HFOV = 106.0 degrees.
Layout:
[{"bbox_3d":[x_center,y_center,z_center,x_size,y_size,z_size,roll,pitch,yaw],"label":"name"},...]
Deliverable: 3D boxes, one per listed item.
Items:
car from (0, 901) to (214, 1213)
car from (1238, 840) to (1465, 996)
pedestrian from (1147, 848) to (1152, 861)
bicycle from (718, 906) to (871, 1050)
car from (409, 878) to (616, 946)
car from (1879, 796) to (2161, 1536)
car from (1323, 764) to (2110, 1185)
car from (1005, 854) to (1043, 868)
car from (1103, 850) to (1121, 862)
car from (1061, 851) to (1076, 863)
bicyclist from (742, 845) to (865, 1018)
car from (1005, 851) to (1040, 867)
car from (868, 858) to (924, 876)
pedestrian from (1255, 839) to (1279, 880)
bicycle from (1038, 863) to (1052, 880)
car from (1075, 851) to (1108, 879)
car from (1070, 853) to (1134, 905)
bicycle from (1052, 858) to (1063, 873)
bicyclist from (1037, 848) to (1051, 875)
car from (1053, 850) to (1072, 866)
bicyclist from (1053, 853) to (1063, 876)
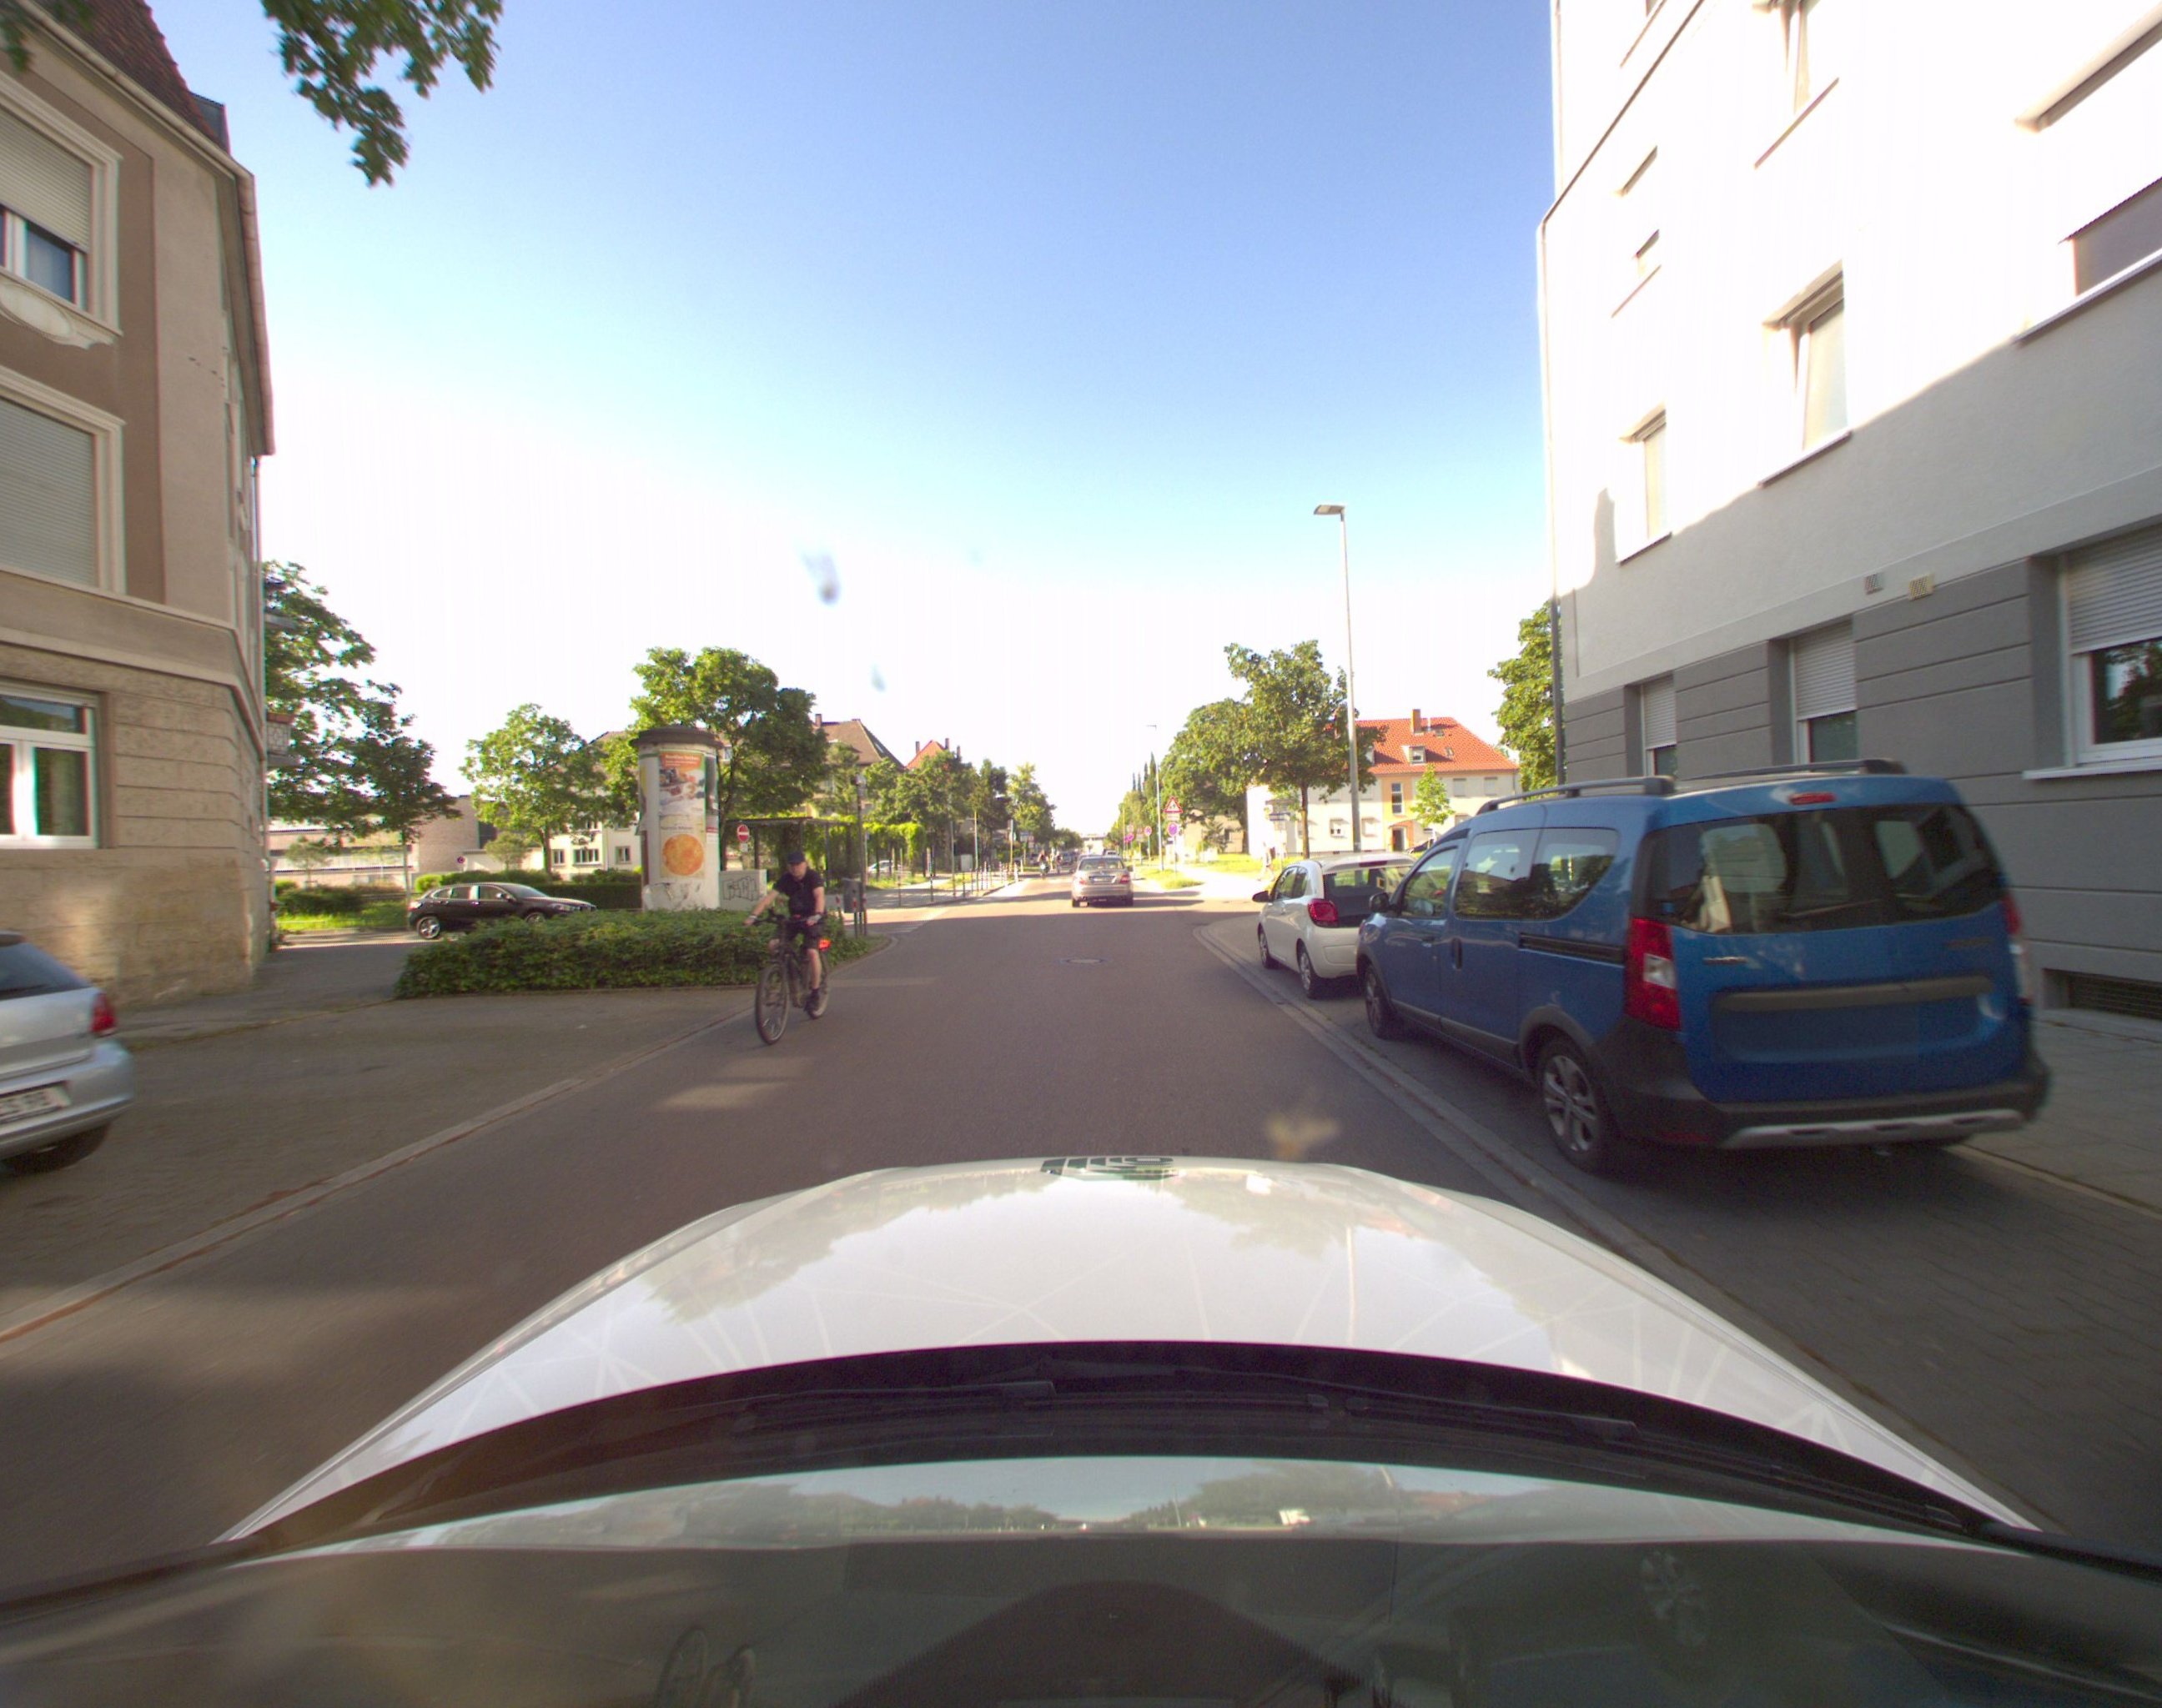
[{"bbox_3d":[-6.949,1.038,3.962,3.567,1.430,1.730,-1,0,0],"label":"car"},{"bbox_3d":[3.074,0.674,10.039,1.558,1.410,3.731,-6,-1,2],"label":"car"},{"bbox_3d":[8.174,0.029,97.227,0.508,1.559,0.643,0,-1,2],"label":"pedestrian"},{"bbox_3d":[-2.692,1.118,7.892,0.717,1.079,1.891,-3,0,2],"label":"bicycle"},{"bbox_3d":[-15.001,1.565,21.661,4.122,1.486,1.806,-2,-10,1],"label":"car"},{"bbox_3d":[3.036,0.604,0.108,1.731,1.531,4.179,-5,0,1],"label":"car"},{"bbox_3d":[3.054,0.499,5.247,1.676,1.435,4.266,-6,-1,1],"label":"car"},{"bbox_3d":[-6.122,0.763,87.186,3.976,1.524,1.755,0,-1,-2],"label":"car"},{"bbox_3d":[3.584,0.249,94.536,1.719,1.330,3.995,-2,0,-3],"label":"car"},{"bbox_3d":[-1.678,0.386,110.520,1.783,1.532,3.995,-2,0,-3],"label":"car"},{"bbox_3d":[-2.660,0.700,7.929,0.719,1.537,1.137,-3,0,1],"label":"bicyclist"},{"bbox_3d":[-6.035,0.497,83.540,3.489,1.533,1.641,-2,0,-6],"label":"car"},{"bbox_3d":[-14.752,1.042,65.041,3.976,1.376,1.998,0,-1,-2],"label":"car"},{"bbox_3d":[7.509,0.216,32.883,0.640,1.623,0.621,-3,0,39],"label":"pedestrian"},{"bbox_3d":[-2.115,0.996,47.870,0.587,0.931,1.851,-2,0,2],"label":"bicycle"},{"bbox_3d":[0.554,0.604,44.459,1.701,1.448,4.202,0,-1,0],"label":"car"},{"bbox_3d":[0.646,0.720,24.190,1.720,1.420,3.962,0,-1,2],"label":"car"},{"bbox_3d":[-1.582,0.784,56.100,0.587,0.931,1.851,-2,0,2],"label":"bicycle"},{"bbox_3d":[-2.172,0.437,47.864,0.678,1.509,0.655,-2,0,2],"label":"bicyclist"},{"bbox_3d":[-2.092,0.401,91.908,1.869,1.728,3.995,-2,0,-3],"label":"car"},{"bbox_3d":[-1.578,0.721,56.116,0.569,1.509,0.655,-2,0,2],"label":"bicyclist"}]
